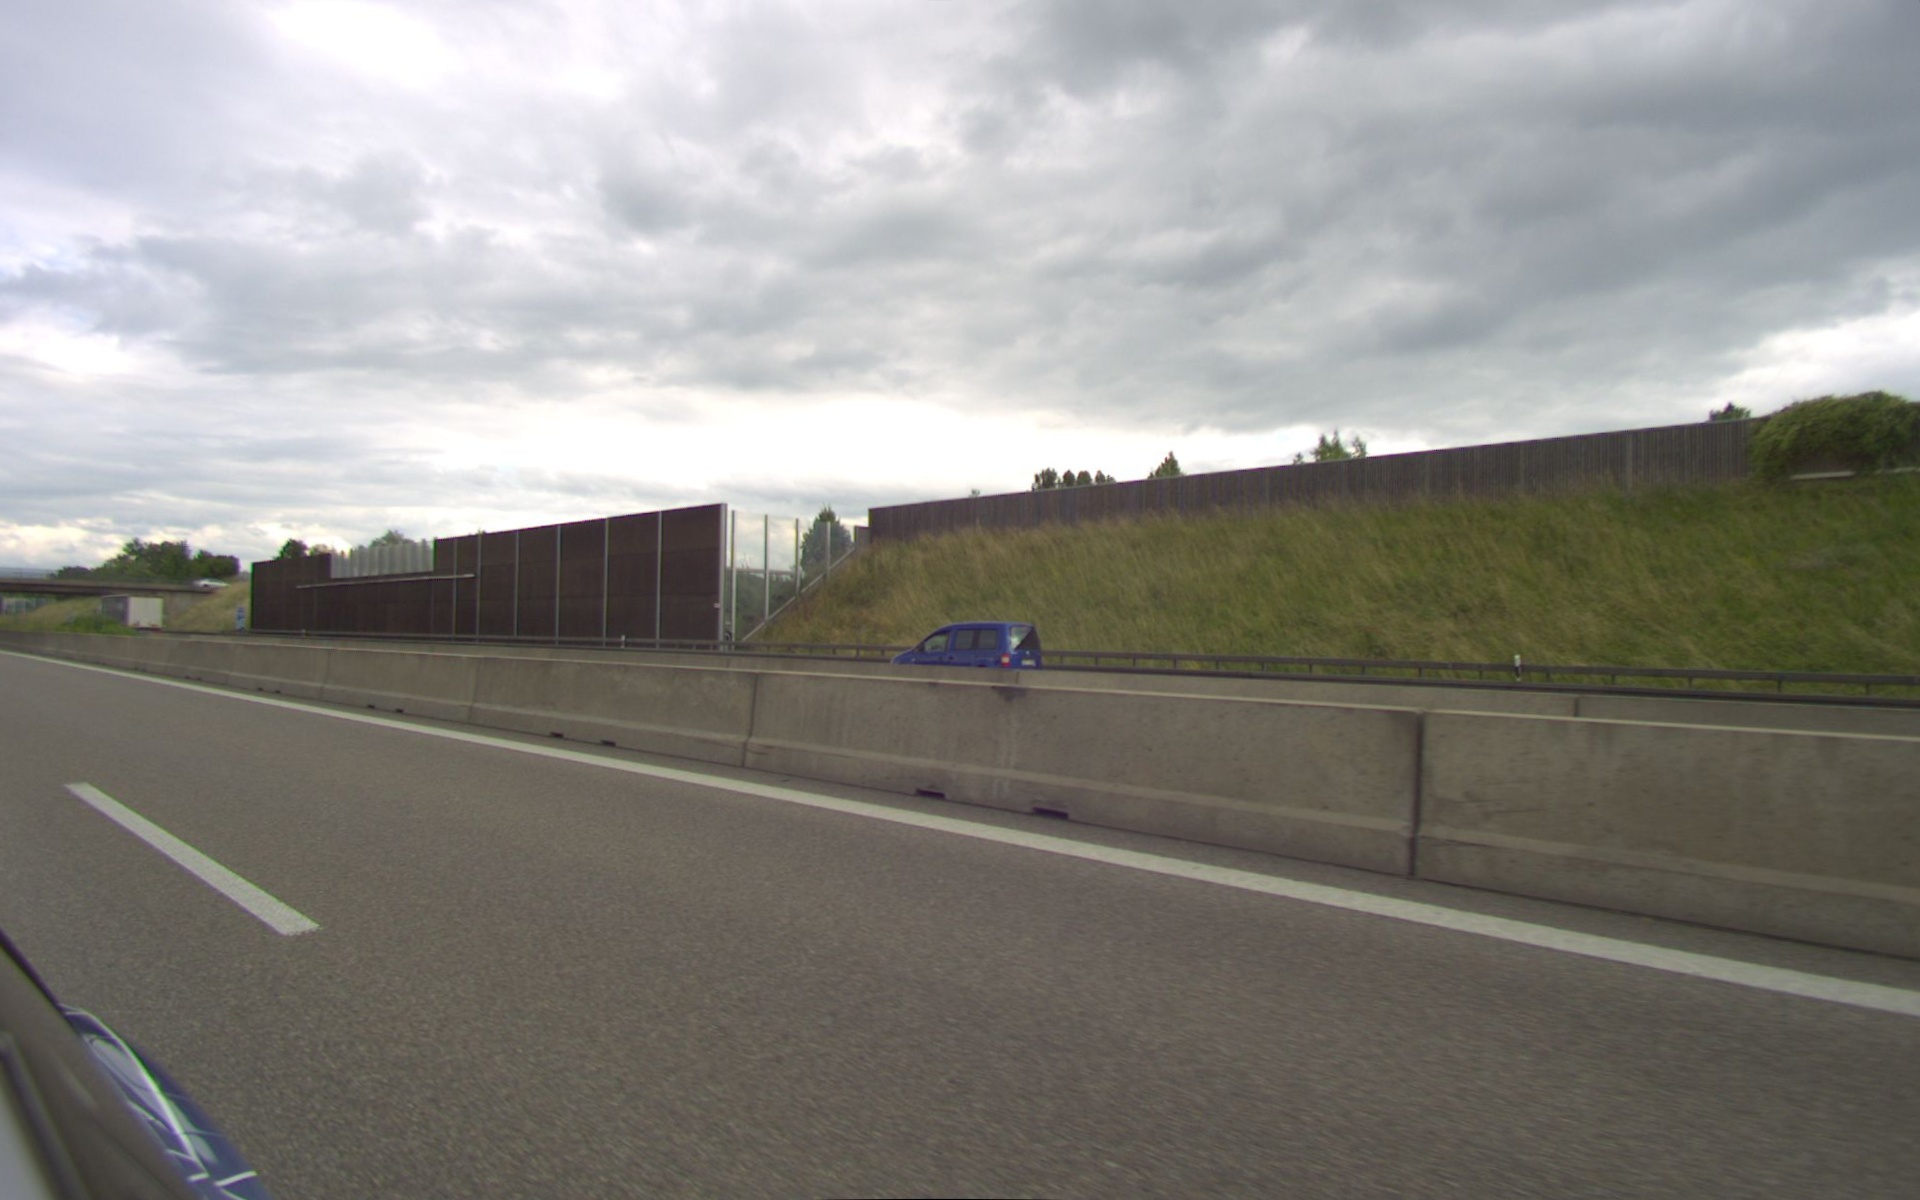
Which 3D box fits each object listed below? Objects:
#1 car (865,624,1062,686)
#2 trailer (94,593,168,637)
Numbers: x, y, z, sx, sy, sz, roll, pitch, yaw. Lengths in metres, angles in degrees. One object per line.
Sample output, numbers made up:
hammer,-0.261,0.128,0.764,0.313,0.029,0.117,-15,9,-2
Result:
car,0.000,1.331,25.805,4.938,1.374,1.973,-1,0,41
trailer,-80.233,1.447,97.797,12.674,4.010,3.633,-1,0,42
